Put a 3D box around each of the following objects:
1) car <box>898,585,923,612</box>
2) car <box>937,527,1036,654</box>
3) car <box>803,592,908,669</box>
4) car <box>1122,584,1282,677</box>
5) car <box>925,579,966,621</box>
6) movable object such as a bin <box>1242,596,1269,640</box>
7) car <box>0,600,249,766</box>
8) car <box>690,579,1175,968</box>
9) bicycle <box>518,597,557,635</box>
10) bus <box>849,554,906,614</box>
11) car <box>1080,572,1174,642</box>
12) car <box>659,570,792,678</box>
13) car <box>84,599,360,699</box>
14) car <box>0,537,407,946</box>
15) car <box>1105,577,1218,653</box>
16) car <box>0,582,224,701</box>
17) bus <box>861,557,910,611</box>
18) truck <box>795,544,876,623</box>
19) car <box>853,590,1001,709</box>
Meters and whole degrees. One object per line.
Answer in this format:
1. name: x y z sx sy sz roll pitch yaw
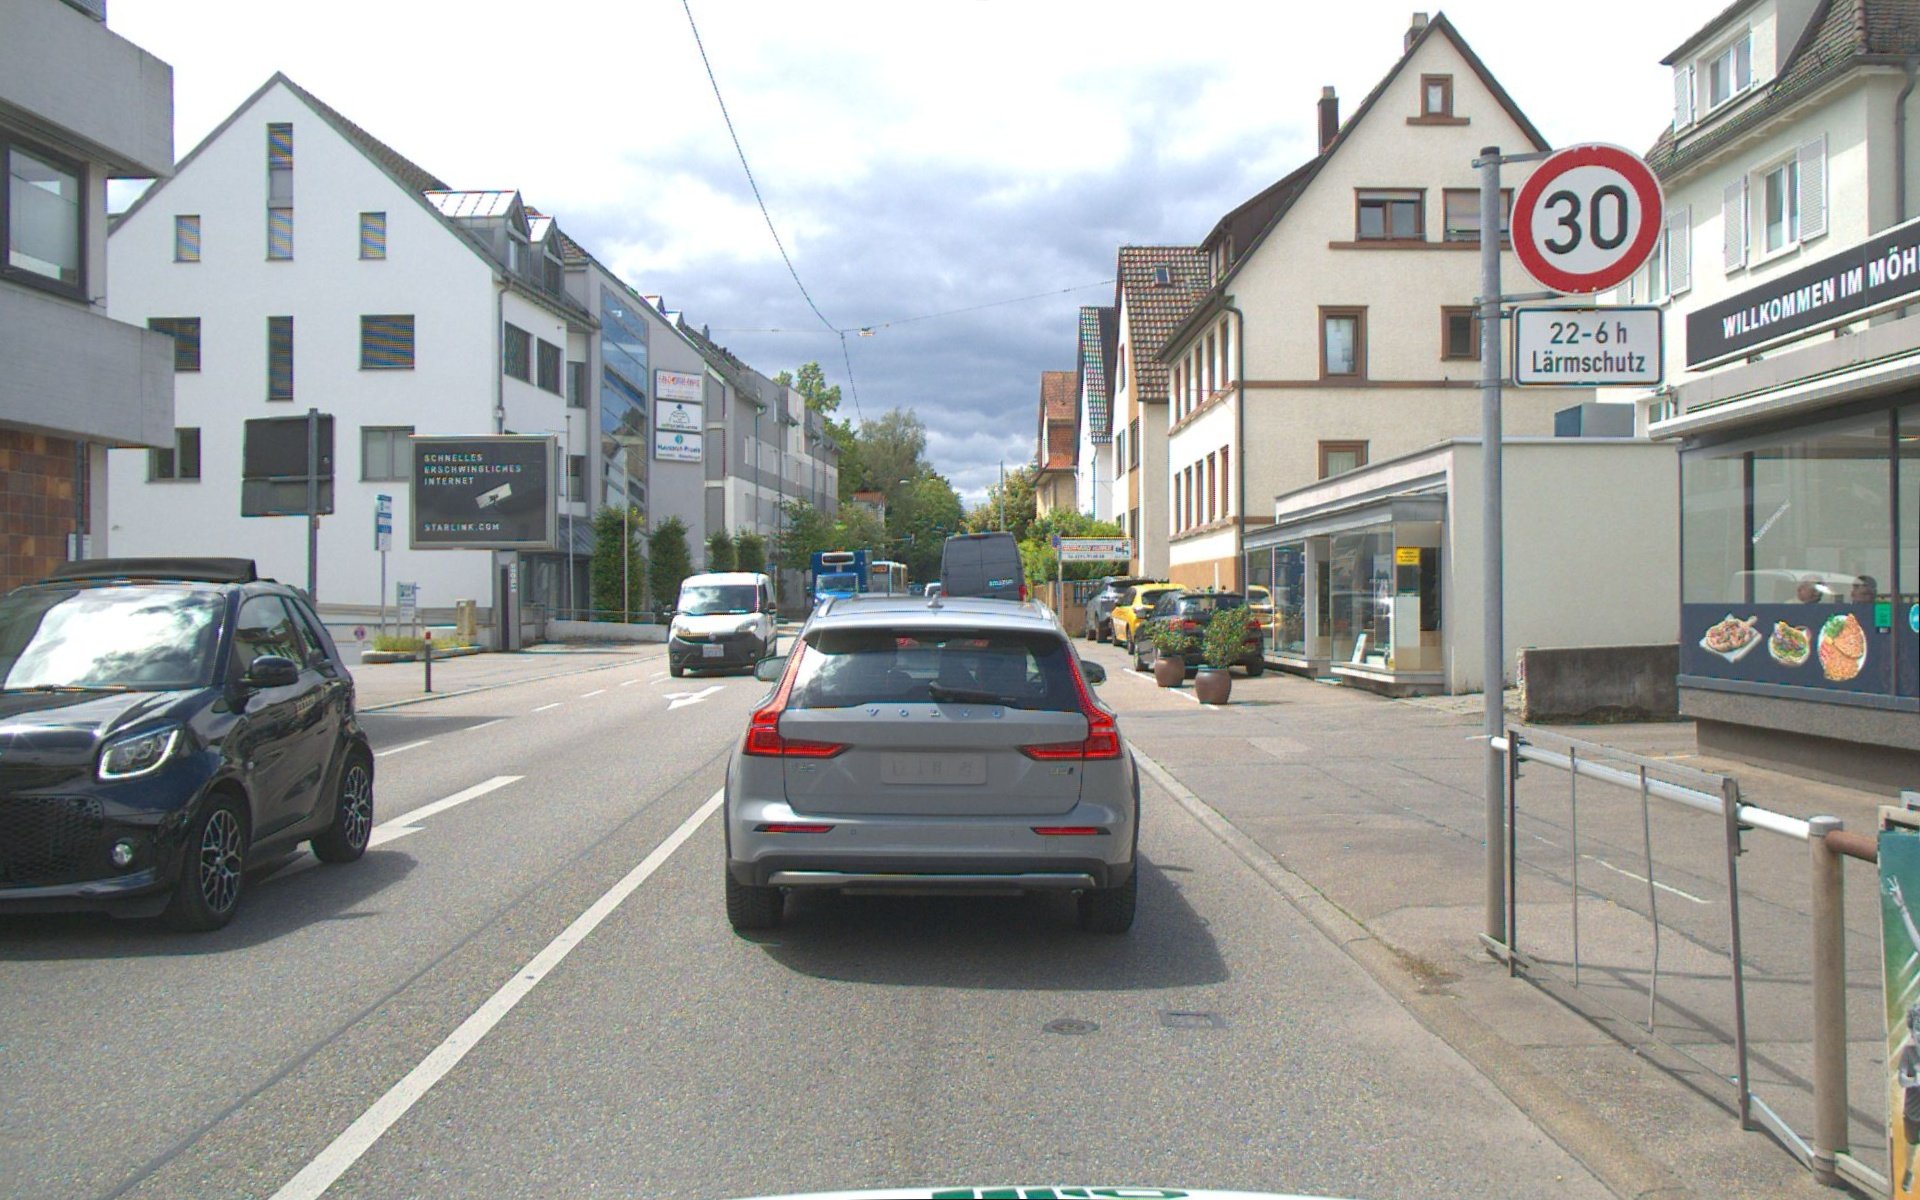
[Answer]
1. car: -4.234 -0.139 141.307 2.063 2.158 4.764 -1 0 -1
2. car: 0.573 -0.230 40.399 2.207 2.844 5.568 -1 0 -1
3. car: -2.188 0.578 33.757 1.861 1.472 3.962 0 0 -8
4. car: 4.122 0.476 28.924 1.929 1.473 4.533 -1 0 -3
5. car: -0.730 -0.001 83.821 1.952 2.049 4.001 0 0 1
6. movable object such as a bin: 6.321 0.379 35.435 0.490 0.941 0.598 -1 0 3
7. car: -9.084 0.743 16.946 1.686 1.447 4.149 1 0 2
8. car: -0.069 0.651 8.353 1.857 1.479 3.969 0 0 1
9. bicycle: -12.819 0.474 50.186 0.617 1.114 2.003 -1 0 1
10. bus: -4.648 -0.882 94.637 2.627 3.219 10.185 -1 0 0
11. car: 4.194 0.148 42.222 1.823 1.640 4.585 -2 1 -1
12. car: -4.308 0.400 30.969 1.906 1.852 4.277 -1 0 -1
13. car: -11.364 0.702 25.910 1.910 1.381 4.857 -1 0 3
14. car: -3.999 0.577 8.183 1.643 1.664 2.832 -1 0 -3
15. car: 4.493 0.287 37.439 1.839 1.472 4.306 -1 3 -3
16. car: -13.935 0.608 26.178 1.910 1.647 4.933 -3 1 6
17. bus: -4.616 -0.960 103.765 2.660 3.219 8.068 -1 0 0
18. truck: -5.244 -0.683 70.855 2.795 3.147 8.089 -1 0 0
19. car: -0.388 0.613 22.754 1.857 1.472 3.969 0 0 1
